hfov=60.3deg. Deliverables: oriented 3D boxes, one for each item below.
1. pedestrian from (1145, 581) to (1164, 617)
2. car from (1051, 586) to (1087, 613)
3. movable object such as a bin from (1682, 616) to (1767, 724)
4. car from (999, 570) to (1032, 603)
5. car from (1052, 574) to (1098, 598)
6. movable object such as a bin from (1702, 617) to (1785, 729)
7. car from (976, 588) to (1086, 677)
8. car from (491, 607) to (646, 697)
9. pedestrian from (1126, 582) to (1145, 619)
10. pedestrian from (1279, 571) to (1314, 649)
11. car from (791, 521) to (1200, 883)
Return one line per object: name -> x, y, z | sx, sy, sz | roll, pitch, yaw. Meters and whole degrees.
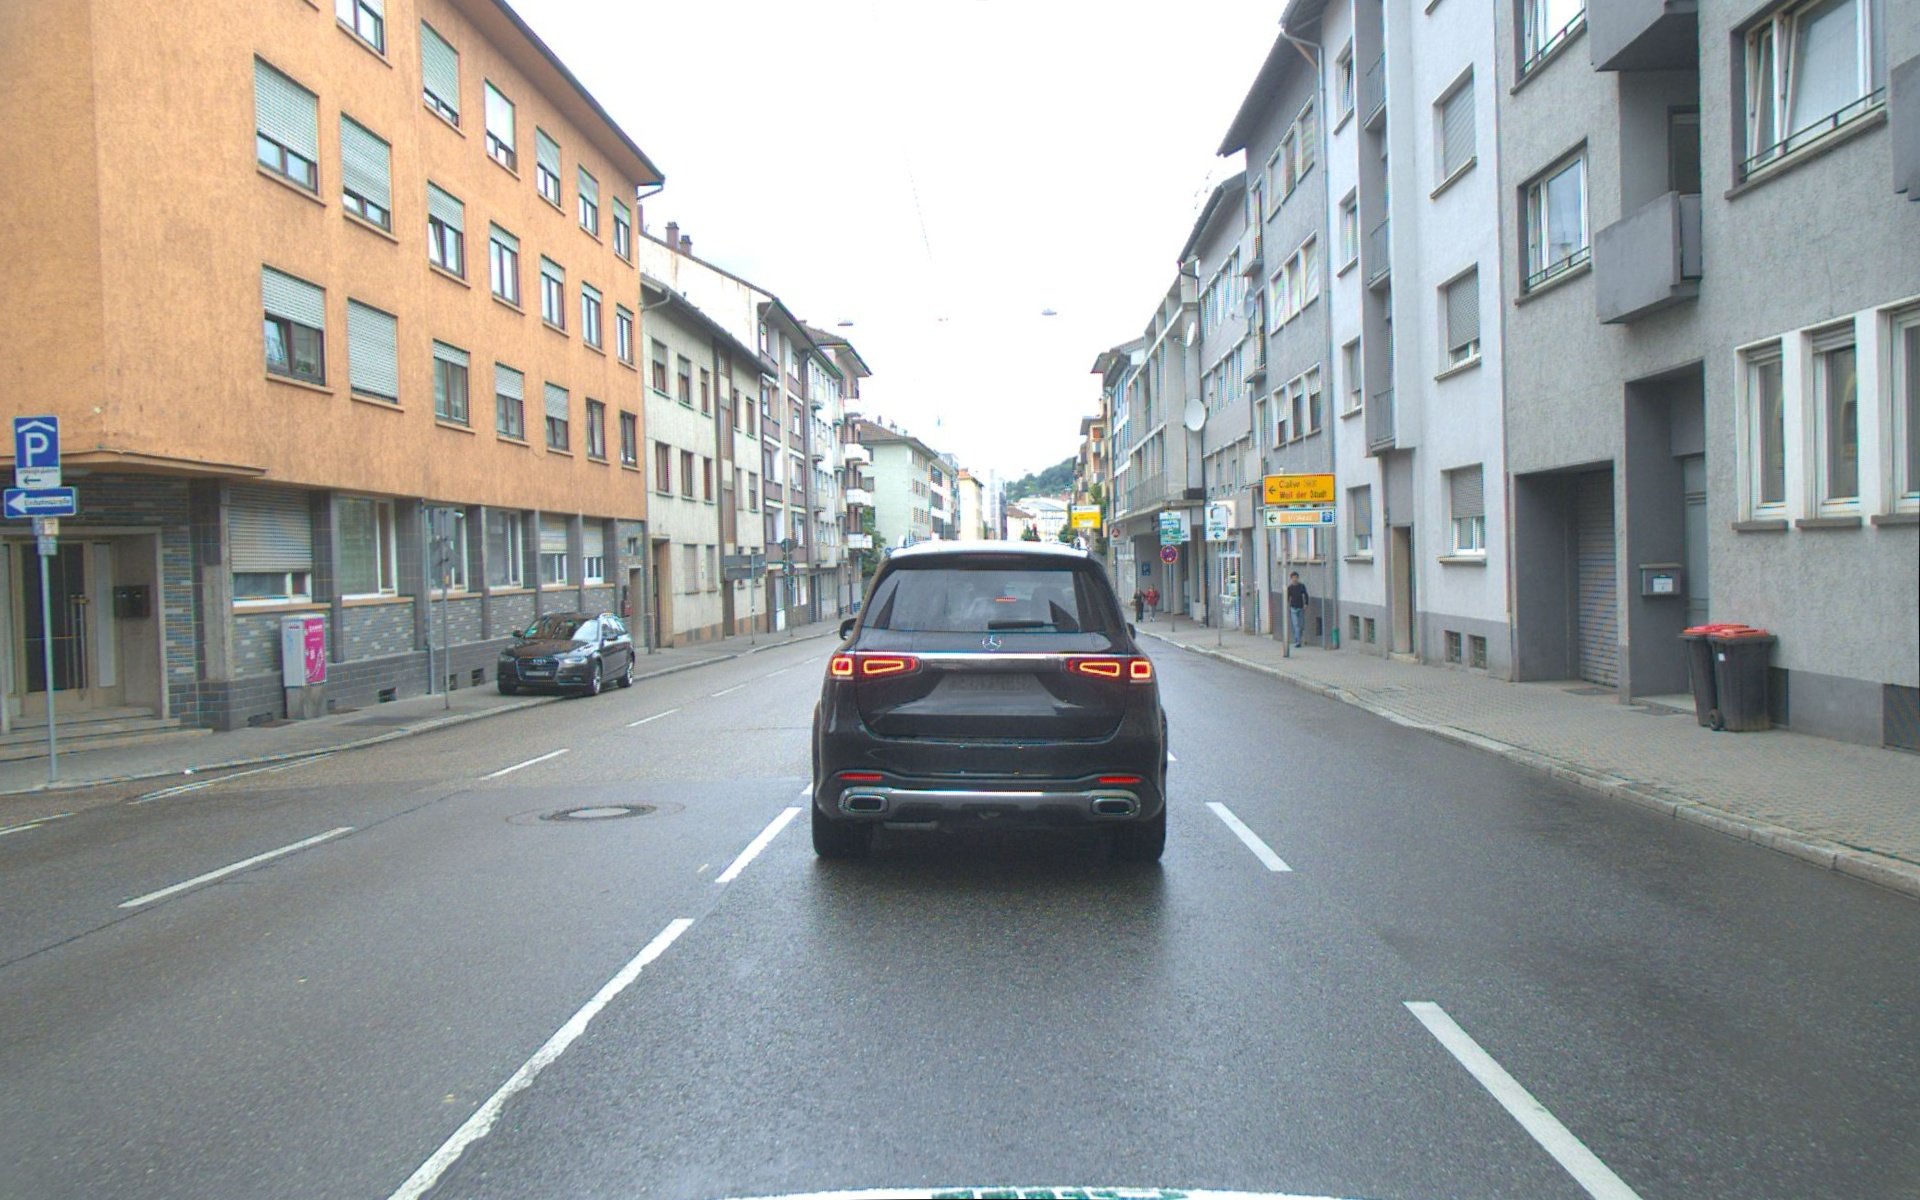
pedestrian -> 8.537, -0.044, 72.543 | 0.803, 1.592, 0.900 | 0, 1, 4
car -> 5.996, -0.035, 91.099 | 1.699, 1.412, 4.583 | 0, 1, 0
movable object such as a bin -> 7.422, 0.673, 16.077 | 0.551, 0.979, 0.475 | -5, 0, 4
car -> 3.621, -0.895, 106.916 | 1.952, 2.049, 4.002 | 0, 1, 4
car -> 9.902, -1.191, 142.230 | 3.903, 2.049, 2.001 | 0, 1, 4
movable object such as a bin -> 7.353, 0.678, 15.534 | 0.463, 0.979, 0.564 | -5, 0, 3
car -> 1.296, 0.571, 31.680 | 1.854, 1.537, 4.173 | 1, 1, -1
car -> -7.307, 0.917, 31.309 | 1.852, 1.484, 4.549 | 0, 1, 0
pedestrian -> 7.690, 0.015, 72.633 | 0.803, 1.592, 0.900 | 0, 1, 4
pedestrian -> 7.940, 0.219, 39.052 | 0.641, 1.782, 0.742 | -4, 0, 6
car -> 0.199, 0.466, 10.568 | 2.033, 1.796, 4.611 | 0, 1, 0
